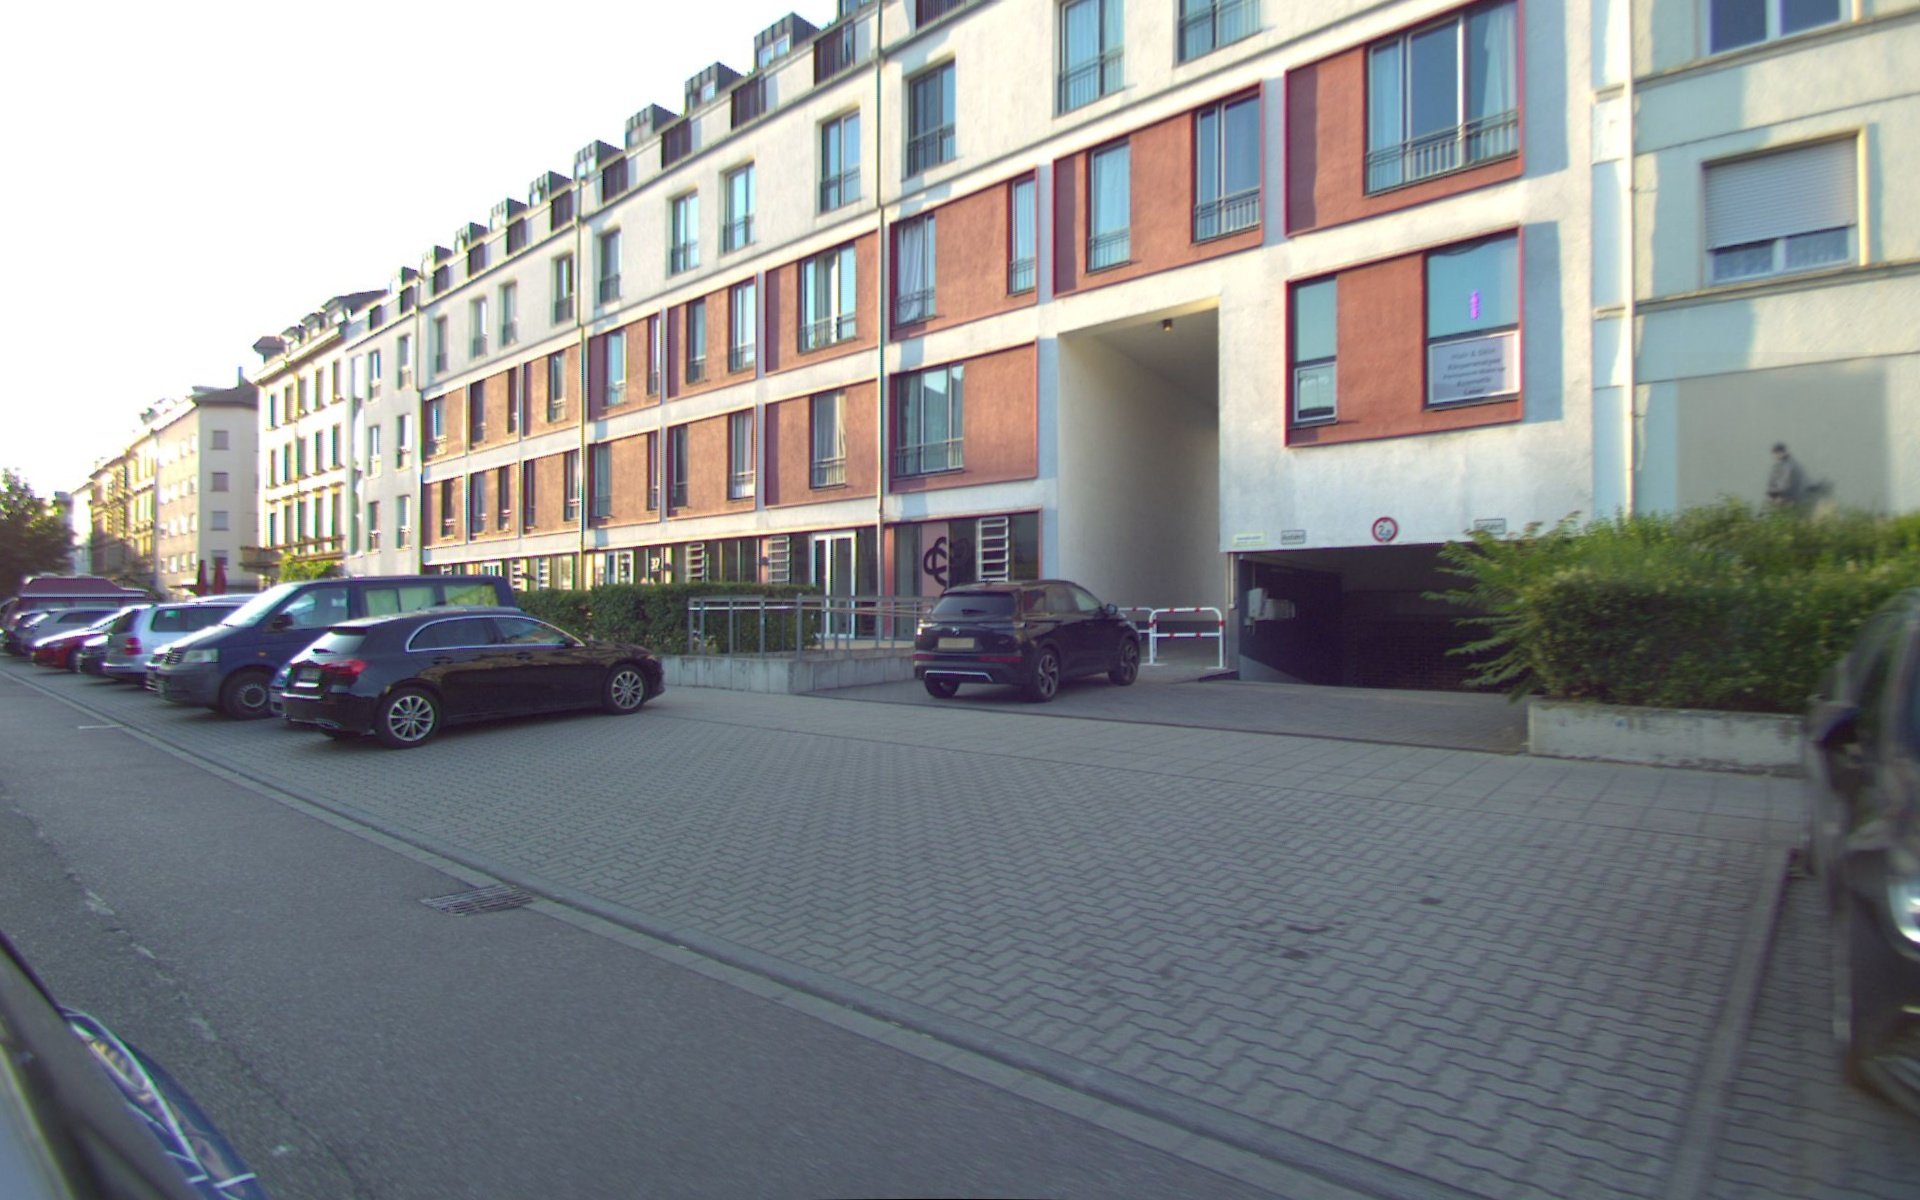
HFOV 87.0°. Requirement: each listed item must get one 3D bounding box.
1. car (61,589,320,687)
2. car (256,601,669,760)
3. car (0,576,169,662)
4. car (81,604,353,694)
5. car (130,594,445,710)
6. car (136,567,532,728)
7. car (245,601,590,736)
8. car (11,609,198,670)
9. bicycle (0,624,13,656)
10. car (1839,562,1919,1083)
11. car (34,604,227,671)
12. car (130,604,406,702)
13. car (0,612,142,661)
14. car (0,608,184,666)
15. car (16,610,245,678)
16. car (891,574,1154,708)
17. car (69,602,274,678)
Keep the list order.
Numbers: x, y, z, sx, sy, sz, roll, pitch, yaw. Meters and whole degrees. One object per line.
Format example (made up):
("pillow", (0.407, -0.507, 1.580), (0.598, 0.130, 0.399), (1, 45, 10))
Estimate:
("car", (-16.571, 0.784, 21.976), (1.895, 1.910, 4.137), (-1, -1, 38))
("car", (-5.734, 0.798, 12.137), (1.735, 1.426, 4.101), (-1, 2, 37))
("car", (-28.174, 0.570, 32.302), (1.932, 2.576, 4.354), (-1, 0, 42))
("car", (-14.814, 0.911, 20.368), (2.047, 1.601, 3.955), (-1, -1, 33))
("car", (-11.327, 0.805, 17.266), (1.901, 1.736, 4.141), (-1, -1, 42))
("car", (-9.329, 0.642, 15.420), (2.001, 2.070, 4.800), (-1, -1, 44))
("car", (-7.312, 0.813, 13.954), (1.652, 1.504, 3.847), (0, 1, 38))
("car", (-24.327, 1.059, 28.866), (1.756, 1.551, 3.905), (-1, 0, 44))
("bicycle", (-34.027, 1.397, 35.671), (2.415, 1.061, 0.794), (-1, 1, 43))
("car", (4.254, 0.610, 3.338), (1.825, 1.462, 4.366), (-1, 2, 38))
("car", (-22.219, 0.947, 27.214), (1.700, 1.629, 3.843), (-1, 0, 44))
("car", (-12.854, 0.917, 18.976), (1.796, 1.630, 3.946), (-1, -1, 40))
("car", (-30.078, 1.189, 33.809), (1.801, 1.427, 3.943), (-1, 1, 35))
("car", (-26.136, 1.047, 30.370), (1.705, 1.536, 4.291), (-1, 0, 41))
("car", (-20.572, 1.025, 25.230), (1.788, 1.505, 4.217), (-1, 0, 42))
("car", (1.030, 0.526, 14.597), (1.996, 1.646, 3.952), (-2, -1, 35))
("car", (-18.338, 0.869, 23.635), (1.783, 1.574, 3.495), (-1, 0, 40))
